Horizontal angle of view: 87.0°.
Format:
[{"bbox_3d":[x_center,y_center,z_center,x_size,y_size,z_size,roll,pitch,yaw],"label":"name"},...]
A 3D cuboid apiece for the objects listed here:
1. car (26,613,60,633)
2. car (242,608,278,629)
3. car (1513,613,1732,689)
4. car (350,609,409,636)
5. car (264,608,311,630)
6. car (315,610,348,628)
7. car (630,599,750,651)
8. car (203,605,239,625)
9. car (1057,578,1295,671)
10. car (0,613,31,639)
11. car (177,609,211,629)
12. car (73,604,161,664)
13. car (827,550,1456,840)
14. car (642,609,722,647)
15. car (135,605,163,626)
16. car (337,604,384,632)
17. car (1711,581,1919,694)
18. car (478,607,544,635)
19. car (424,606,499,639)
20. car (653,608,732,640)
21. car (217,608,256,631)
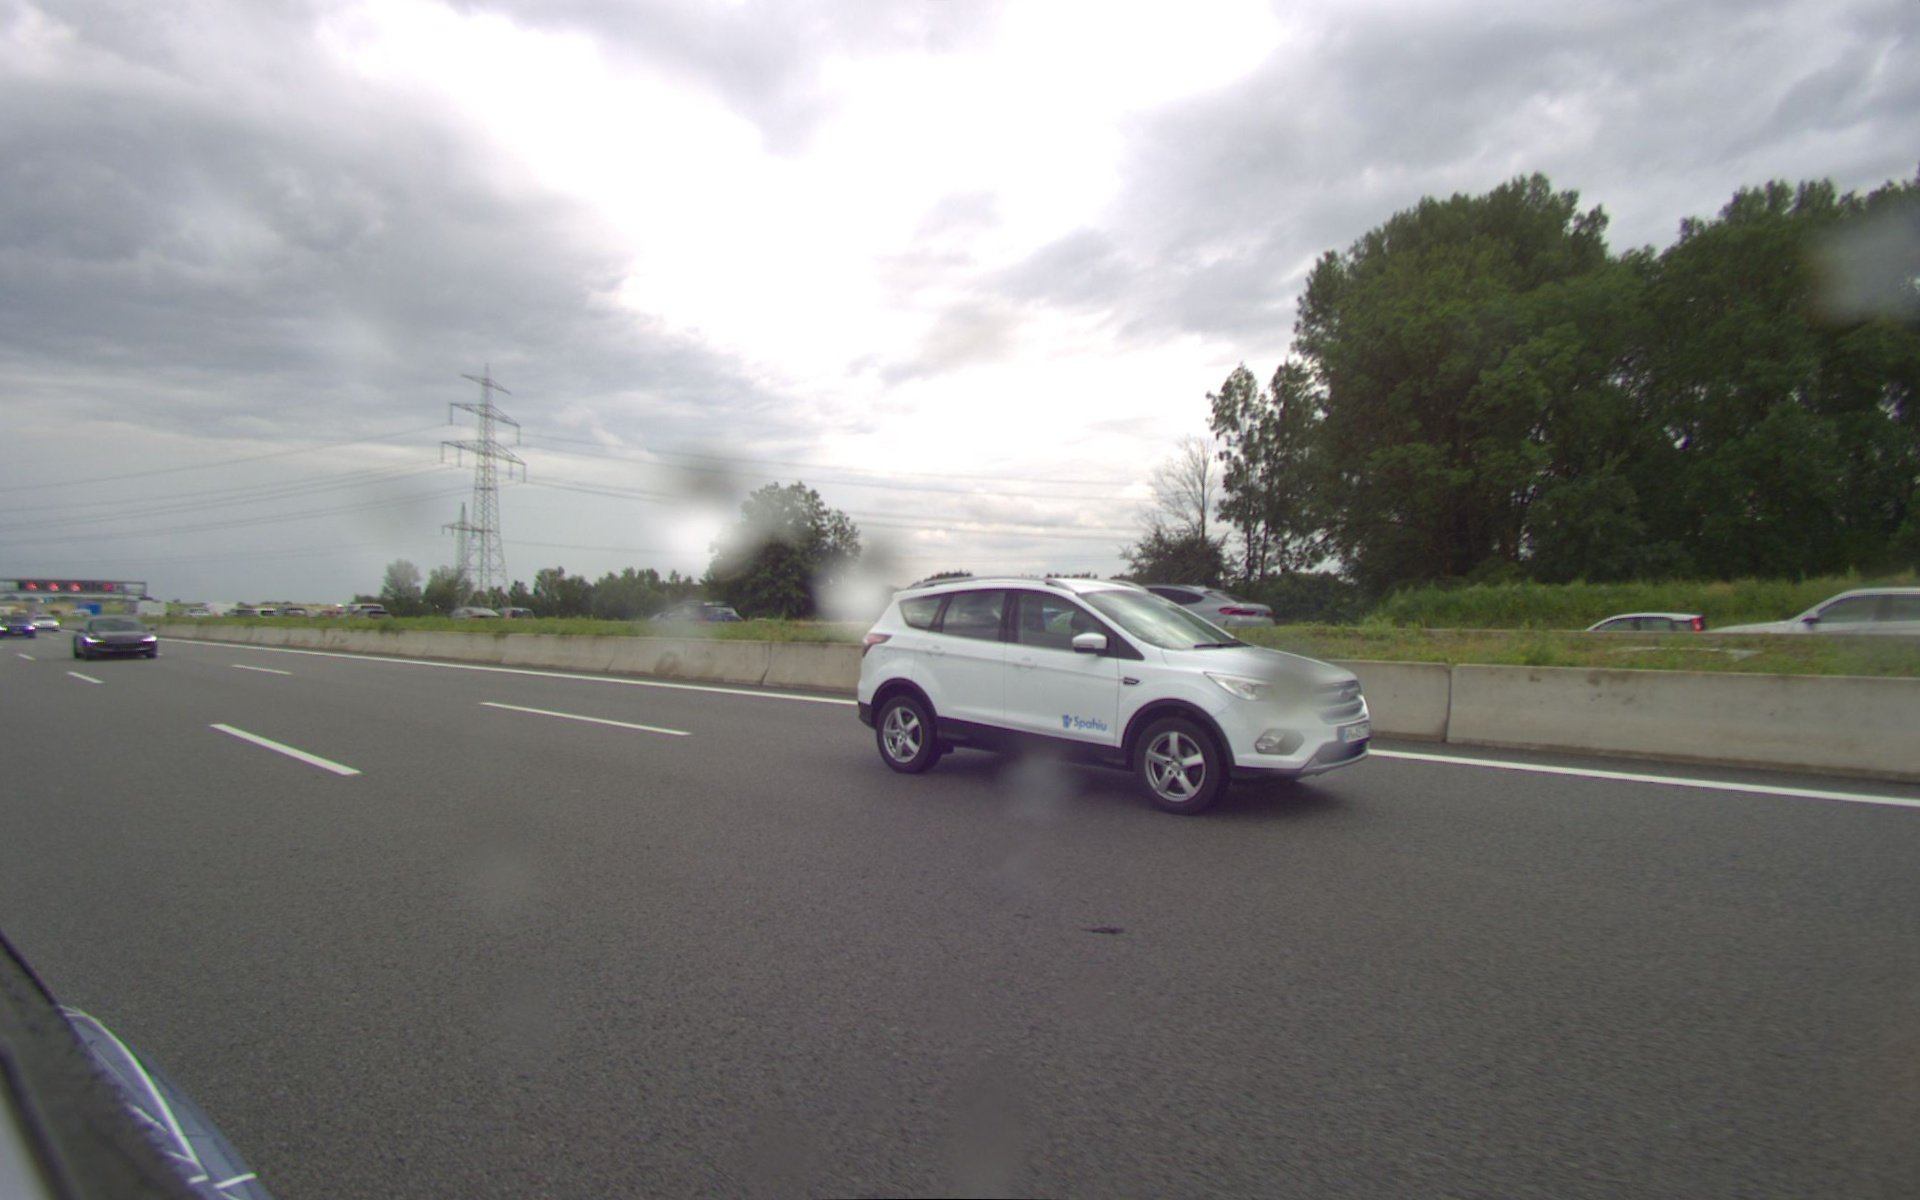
[{"bbox_3d":[-77.118,1.894,85.099,4.000,1.586,1.798,-1,0,43],"label":"car"},{"bbox_3d":[-62.560,1.645,90.441,4.000,1.744,1.800,-1,0,43],"label":"car"},{"bbox_3d":[16.392,1.189,25.166,4.351,1.710,1.762,-1,0,41],"label":"car"},{"bbox_3d":[-32.558,1.240,56.732,4.000,1.422,1.800,-1,0,43],"label":"car"},{"bbox_3d":[-45.423,1.270,68.326,4.000,1.422,1.800,-1,0,43],"label":"car"},{"bbox_3d":[-62.639,1.854,100.846,4.000,1.744,1.800,-1,0,43],"label":"car"},{"bbox_3d":[-9.114,0.820,34.018,4.351,1.625,1.762,-1,0,41],"label":"car"},{"bbox_3d":[-76.191,1.506,104.326,4.953,1.985,2.050,-1,0,43],"label":"car"},{"bbox_3d":[4.350,0.461,20.803,4.500,1.710,1.762,-1,0,41],"label":"car"},{"bbox_3d":[-59.020,1.589,63.044,1.686,1.583,4.351,-1,0,-43],"label":"car"},{"bbox_3d":[-69.643,1.704,92.034,4.000,1.744,1.800,-1,0,43],"label":"car"},{"bbox_3d":[-28.339,1.077,33.951,1.970,1.834,5.167,-1,0,-43],"label":"car"},{"bbox_3d":[1.175,0.594,8.266,4.851,1.702,1.796,-1,-1,42],"label":"car"},{"bbox_3d":[-11.202,1.105,40.663,3.596,1.422,1.447,-1,0,43],"label":"car"},{"bbox_3d":[-85.419,1.627,106.589,4.000,2.140,1.800,-1,0,43],"label":"car"},{"bbox_3d":[-42.297,1.262,71.340,4.000,1.922,1.800,-1,0,43],"label":"car"},{"bbox_3d":[14.823,0.563,16.211,4.351,1.710,1.762,-1,0,41],"label":"car"},{"bbox_3d":[-24.151,1.116,54.369,4.000,1.422,1.800,-1,0,43],"label":"car"},{"bbox_3d":[-22.997,1.004,46.606,4.000,1.422,1.800,-1,0,43],"label":"car"},{"bbox_3d":[-12.729,1.118,48.089,4.000,1.422,1.800,-1,0,43],"label":"car"},{"bbox_3d":[-58.258,1.575,81.502,4.000,1.744,1.800,-1,0,43],"label":"car"}]
